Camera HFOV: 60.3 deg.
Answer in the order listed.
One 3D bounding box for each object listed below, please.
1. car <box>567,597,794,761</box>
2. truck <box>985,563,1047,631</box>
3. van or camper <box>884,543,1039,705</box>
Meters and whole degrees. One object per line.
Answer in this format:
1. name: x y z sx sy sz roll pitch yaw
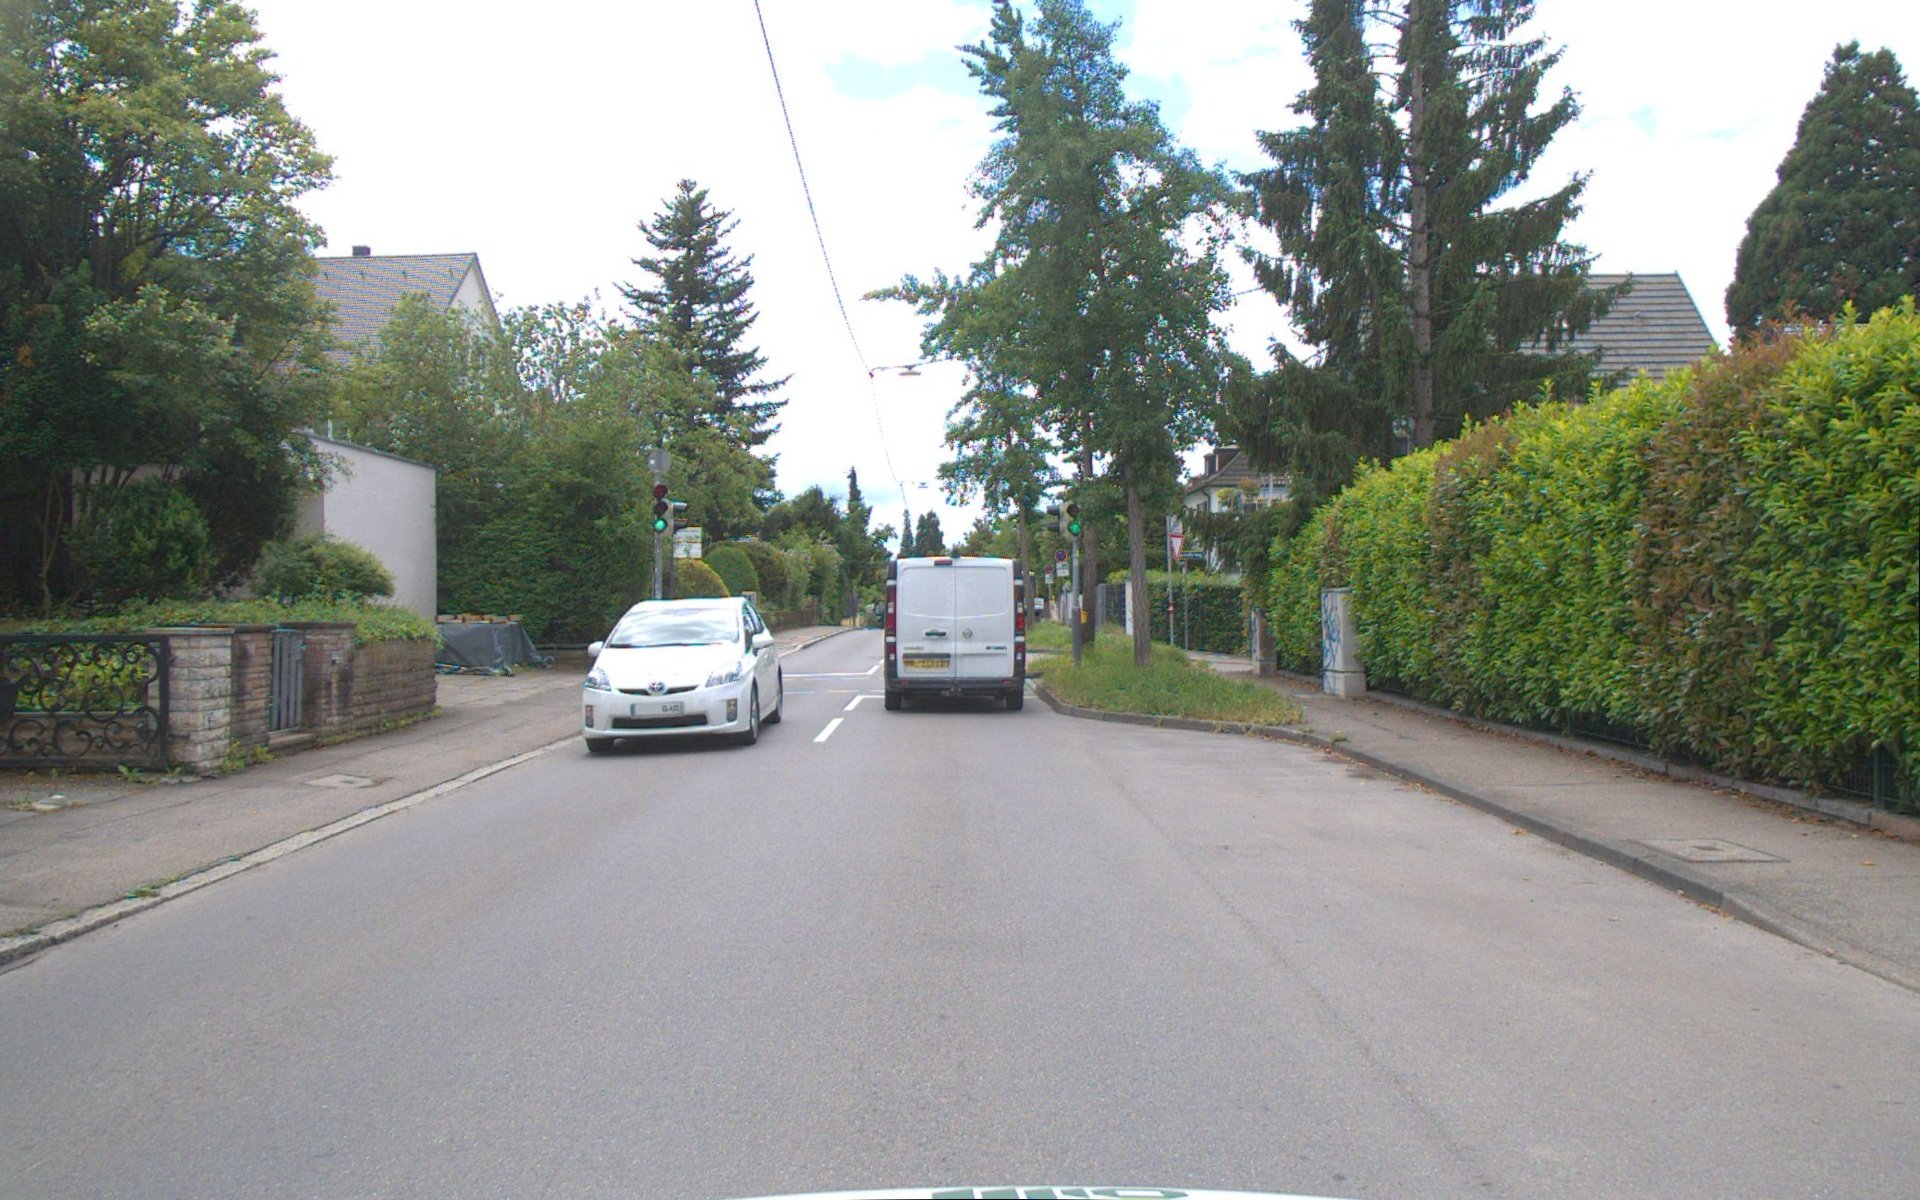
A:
1. car: -2.883 0.751 17.965 1.817 1.476 4.280 -2 0 -2
2. truck: 2.157 -0.111 65.757 2.143 2.515 7.429 1 0 -1
3. van or camper: -0.022 0.346 22.859 1.900 1.988 4.763 1 -1 -1
